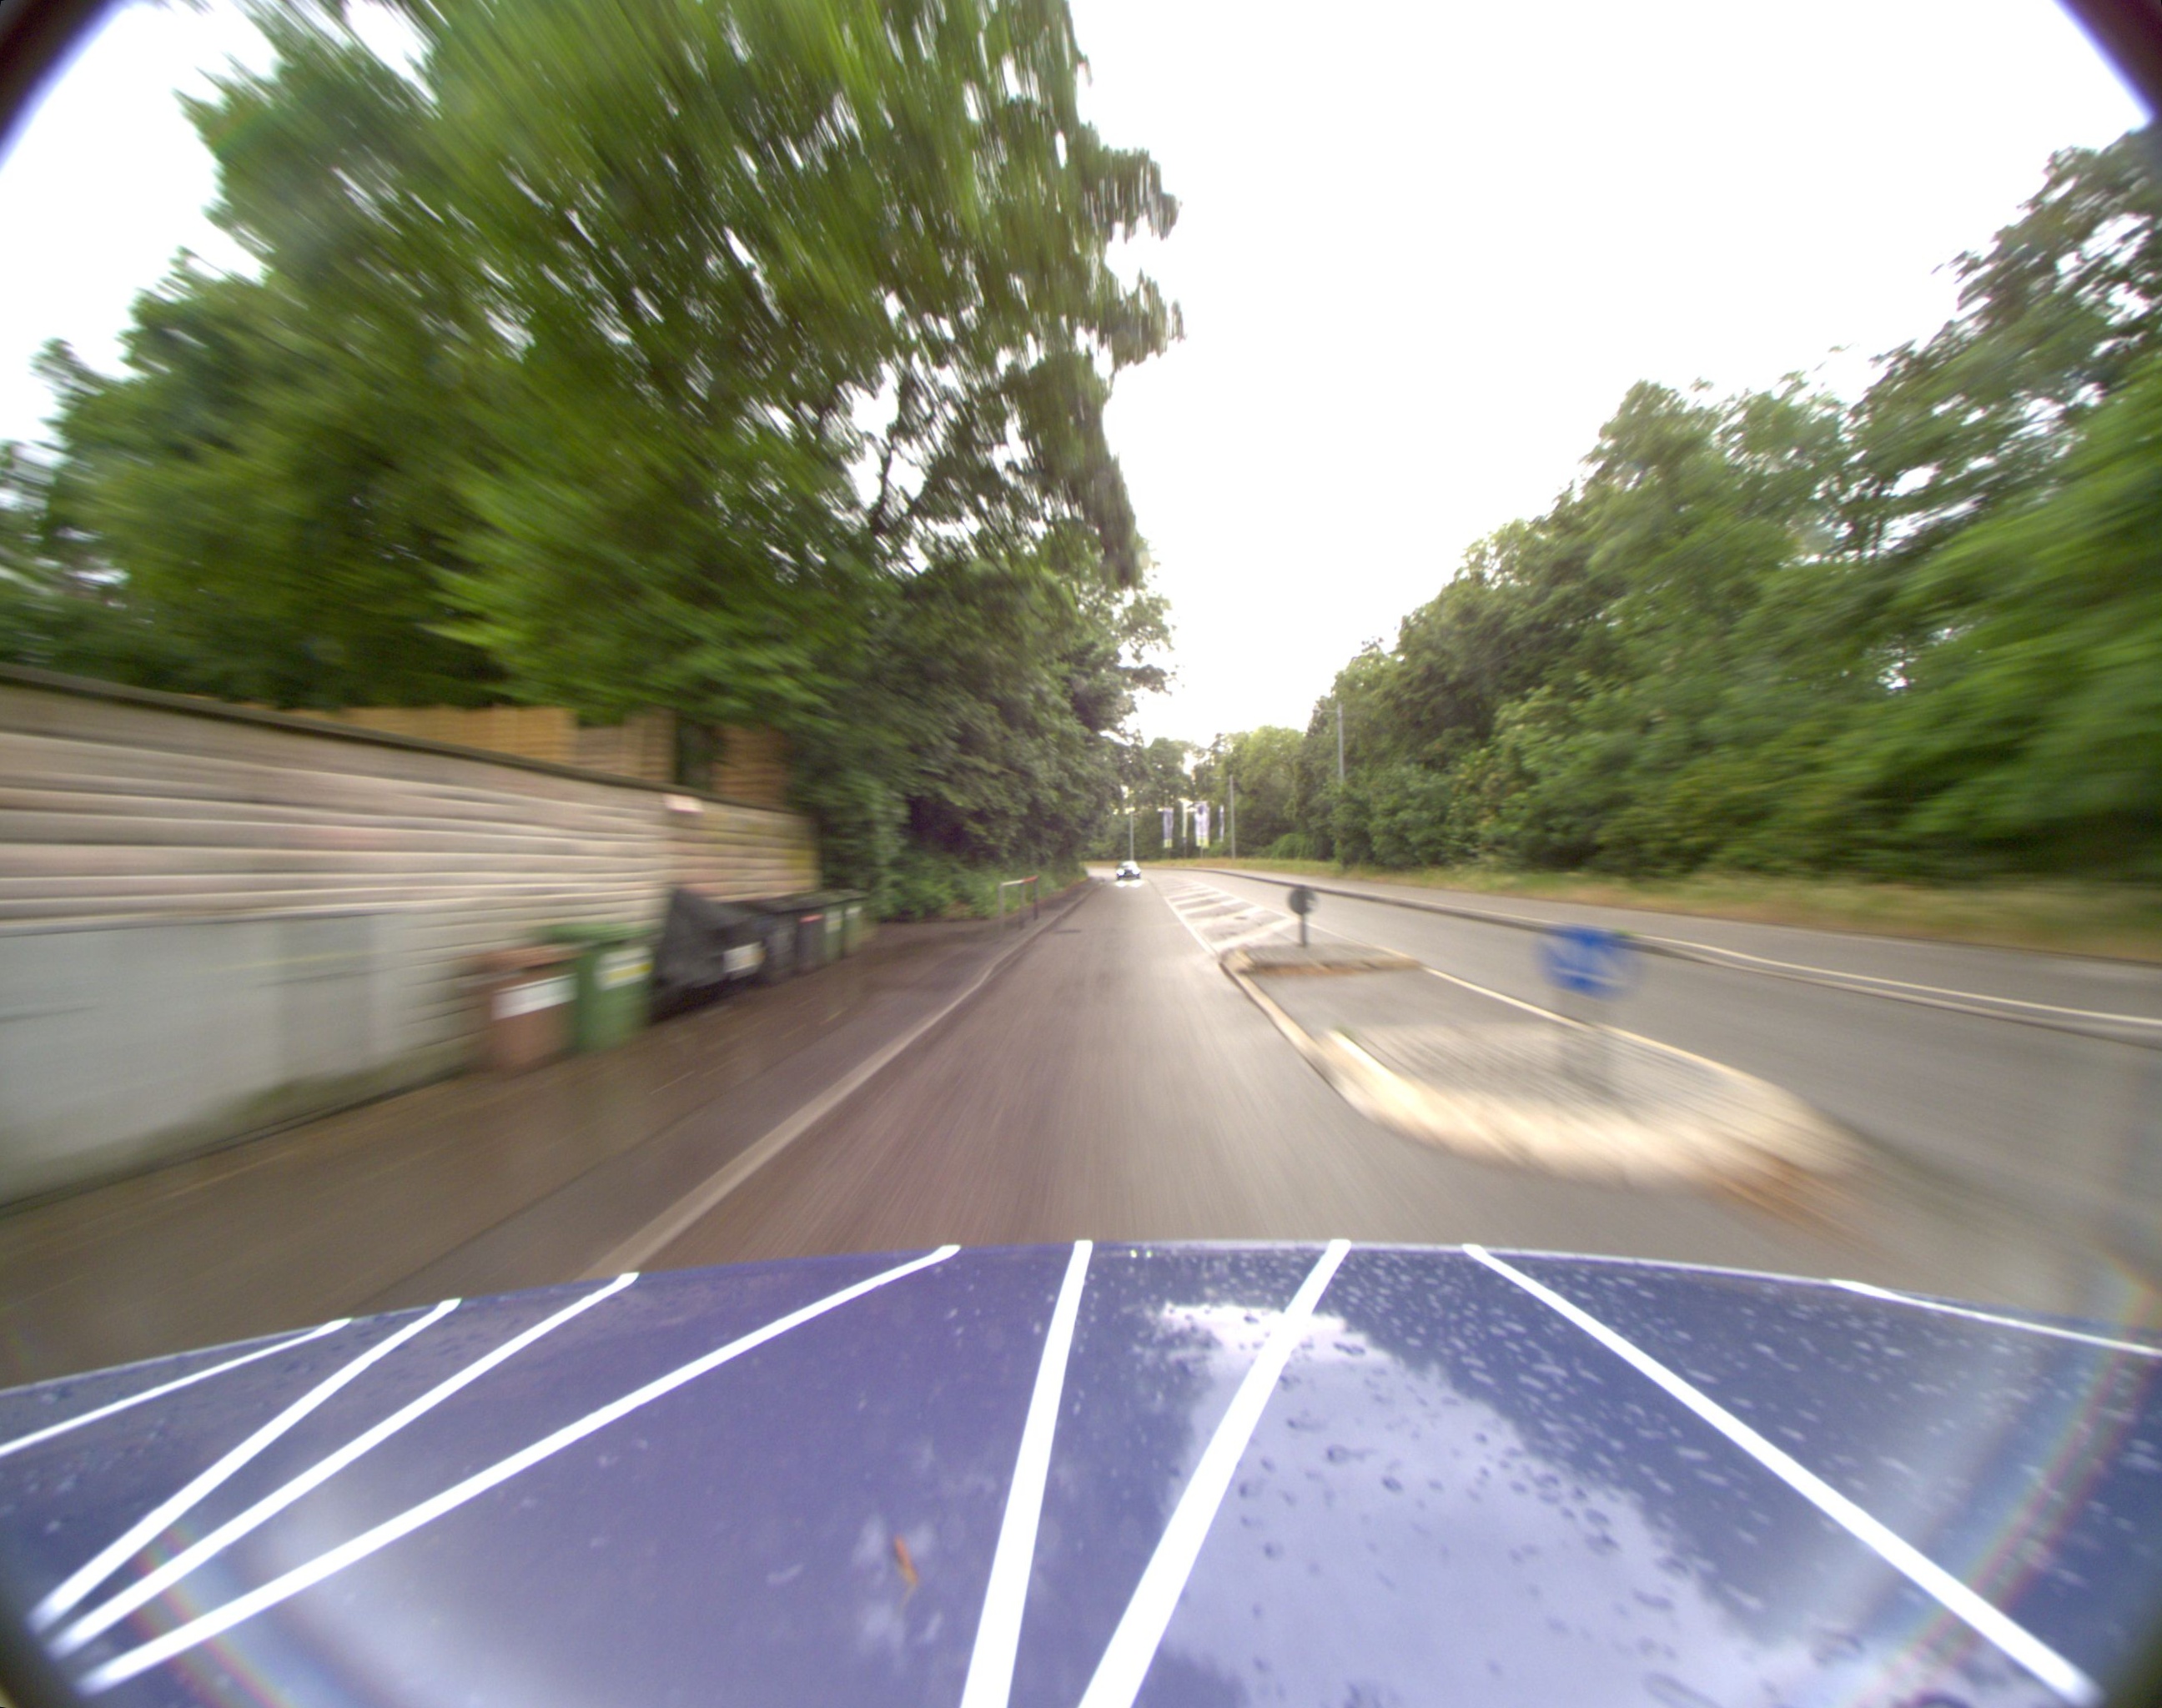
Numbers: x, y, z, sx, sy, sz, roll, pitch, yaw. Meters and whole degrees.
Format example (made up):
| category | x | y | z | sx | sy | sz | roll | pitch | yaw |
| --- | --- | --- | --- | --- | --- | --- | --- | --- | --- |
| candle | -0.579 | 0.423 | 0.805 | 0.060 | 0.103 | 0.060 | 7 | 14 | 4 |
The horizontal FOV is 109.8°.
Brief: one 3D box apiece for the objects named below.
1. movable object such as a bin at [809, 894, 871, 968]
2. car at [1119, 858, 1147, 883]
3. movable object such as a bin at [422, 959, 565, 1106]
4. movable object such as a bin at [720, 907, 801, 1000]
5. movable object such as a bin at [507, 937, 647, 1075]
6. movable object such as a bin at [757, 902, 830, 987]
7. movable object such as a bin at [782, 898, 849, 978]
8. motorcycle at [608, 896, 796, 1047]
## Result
| category | x | y | z | sx | sy | sz | roll | pitch | yaw |
| --- | --- | --- | --- | --- | --- | --- | --- | --- | --- |
| movable object such as a bin | -3.726 | 1.179 | 11.770 | 0.666 | 1.062 | 0.701 | -2 | 0 | 4 |
| car | 4.123 | 1.272 | 59.639 | 1.998 | 1.714 | 4.002 | -4 | 0 | 5 |
| movable object such as a bin | -4.238 | 1.270 | 5.512 | 0.570 | 0.931 | 0.549 | -2 | 0 | 4 |
| movable object such as a bin | -3.949 | 1.213 | 9.398 | 0.666 | 1.062 | 0.659 | -2 | 0 | 4 |
| movable object such as a bin | -4.119 | 1.223 | 6.248 | 0.666 | 0.999 | 0.659 | -2 | 0 | 4 |
| movable object such as a bin | -3.852 | 1.200 | 10.207 | 0.666 | 1.062 | 0.659 | -2 | 0 | 4 |
| movable object such as a bin | -3.812 | 1.190 | 10.952 | 0.666 | 1.062 | 0.701 | -2 | 0 | 4 |
| motorcycle | -3.780 | 1.117 | 7.826 | 0.777 | 1.237 | 2.014 | -2 | 0 | 4 |
